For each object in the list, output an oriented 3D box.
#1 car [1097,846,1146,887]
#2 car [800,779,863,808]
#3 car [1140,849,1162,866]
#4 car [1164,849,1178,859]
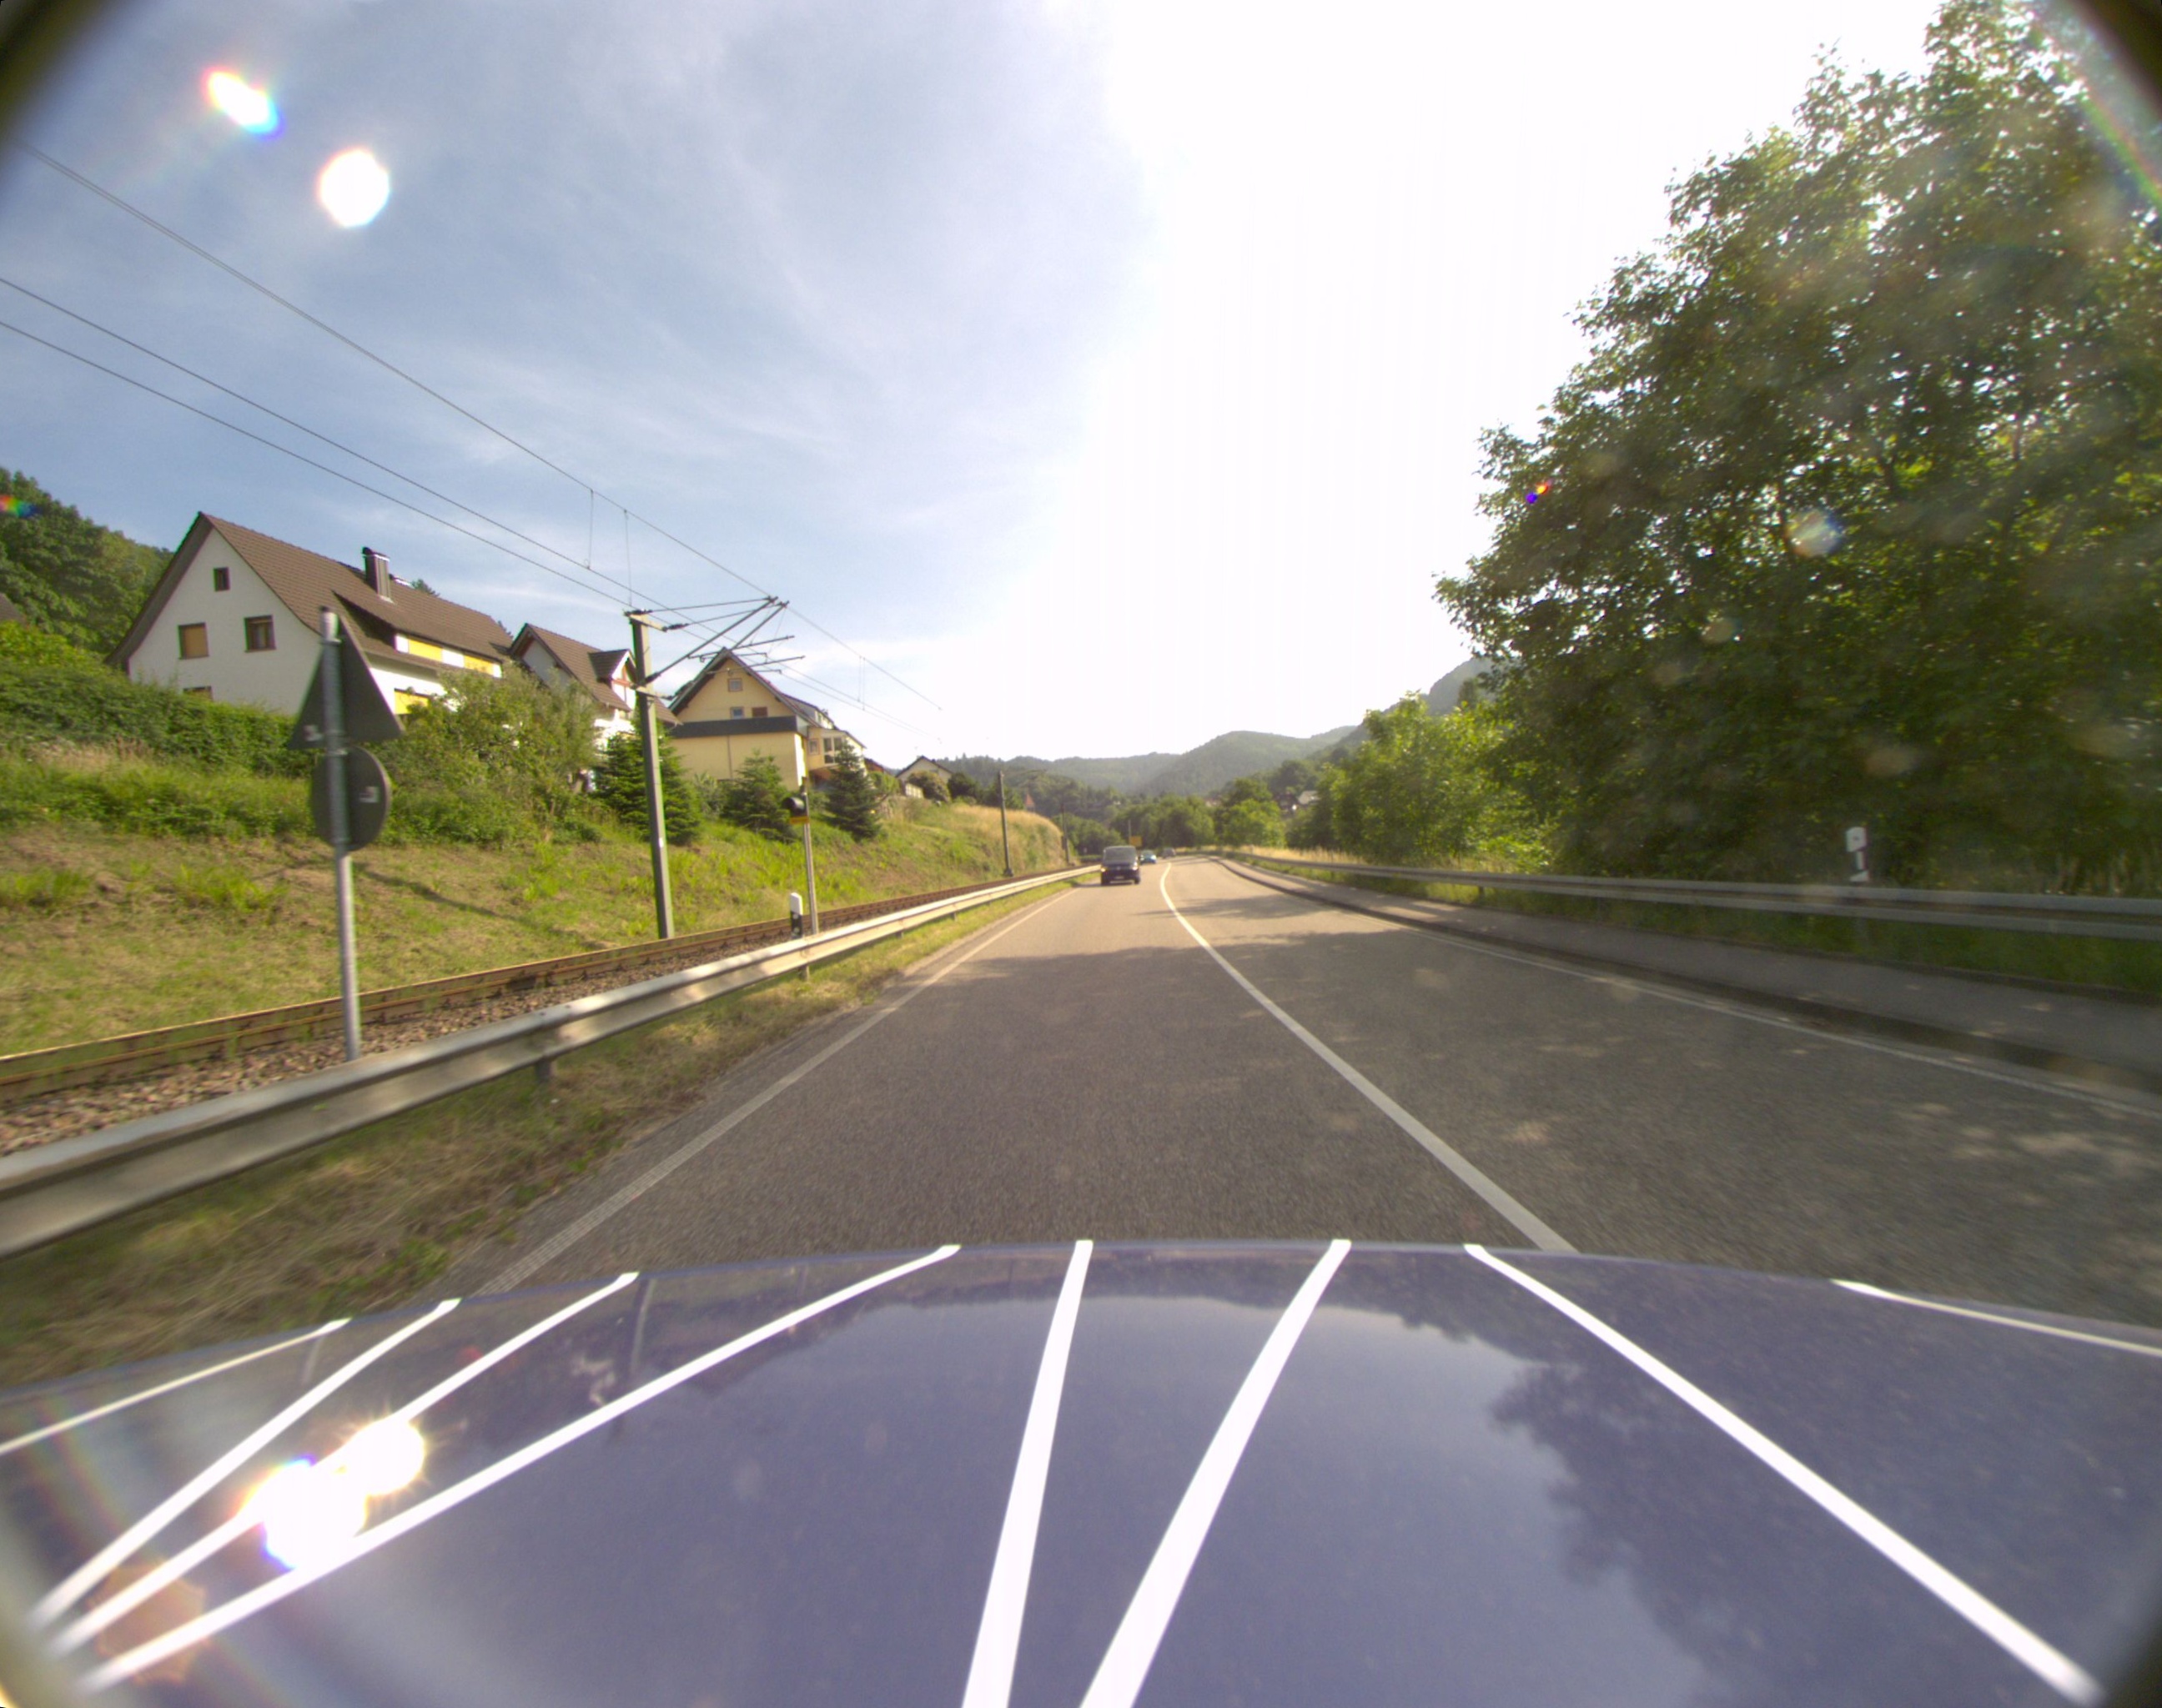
[{"bbox_3d":[2.129,0.587,38.633,2.017,1.905,4.314,-2,0,8],"label":"car"},{"bbox_3d":[-17.688,-4.310,53.977,3.750,1.531,1.752,-7,2,0],"label":"car"},{"bbox_3d":[7.960,0.364,85.707,1.883,1.735,4.182,-3,0,12],"label":"car"},{"bbox_3d":[13.486,-0.007,113.783,1.581,1.471,4.000,-3,0,0],"label":"car"}]
